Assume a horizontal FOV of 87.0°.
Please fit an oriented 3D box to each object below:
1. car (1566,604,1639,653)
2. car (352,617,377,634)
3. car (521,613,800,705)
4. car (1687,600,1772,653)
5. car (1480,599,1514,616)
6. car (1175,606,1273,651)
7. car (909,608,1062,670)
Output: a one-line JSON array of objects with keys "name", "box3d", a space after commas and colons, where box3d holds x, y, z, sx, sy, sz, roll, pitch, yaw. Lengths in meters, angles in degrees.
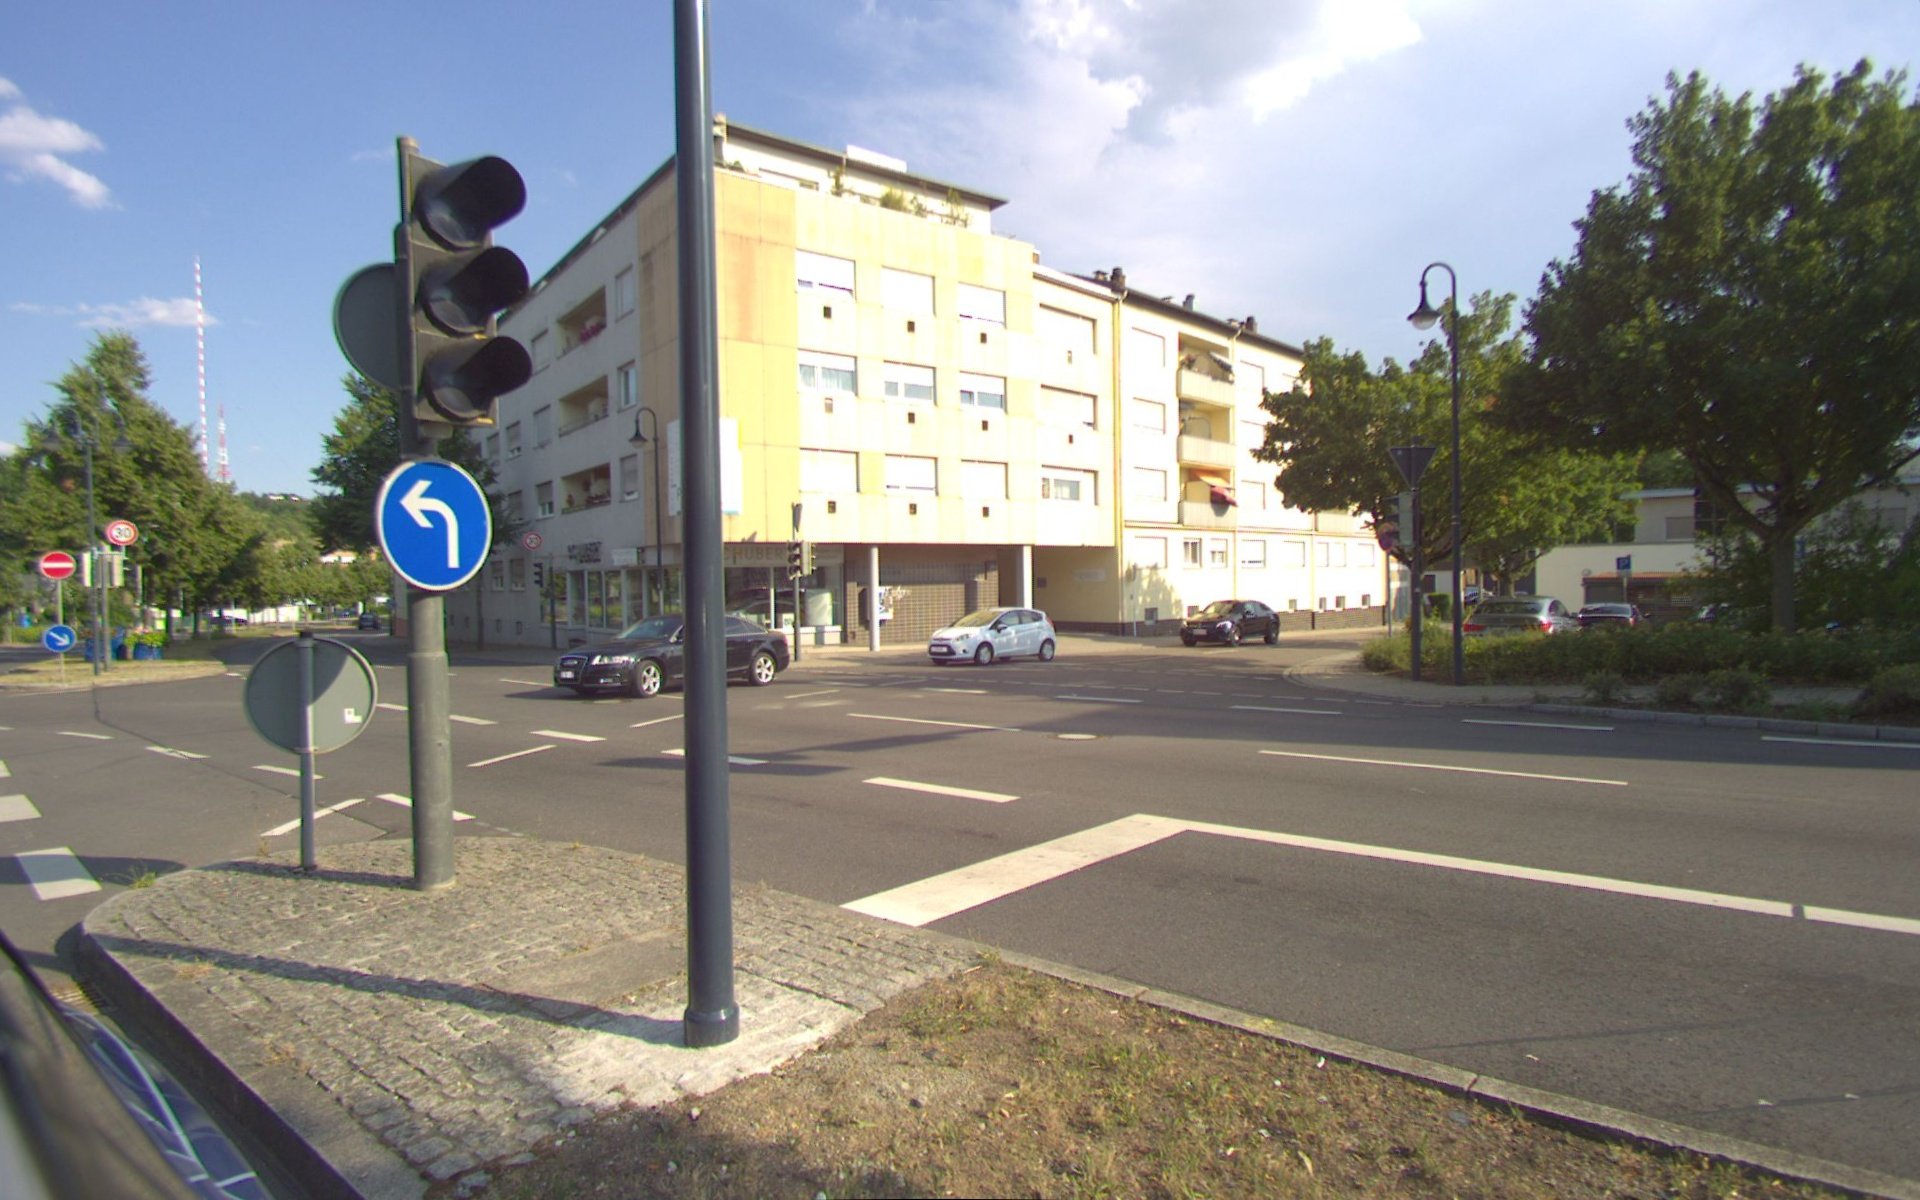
[{"name": "car", "box3d": [19.663, 0.836, 30.909, 1.744, 1.410, 3.614, -1, -1, 35]}, {"name": "car", "box3d": [-63.086, 2.641, 107.227, 1.826, 1.750, 4.938, 0, -1, -25]}, {"name": "car", "box3d": [-5.335, 0.977, 18.675, 1.913, 1.447, 4.816, -1, -1, 35]}, {"name": "car", "box3d": [21.889, 0.734, 28.905, 1.744, 1.410, 3.614, -1, -1, 35]}, {"name": "car", "box3d": [41.958, 0.615, 79.011, 1.746, 1.269, 3.545, -1, -1, 38]}, {"name": "car", "box3d": [9.023, 0.948, 34.499, 1.749, 1.447, 3.540, -1, -1, 44]}, {"name": "car", "box3d": [0.709, 0.954, 26.113, 3.769, 1.447, 1.869, 0, -1, -45]}]
